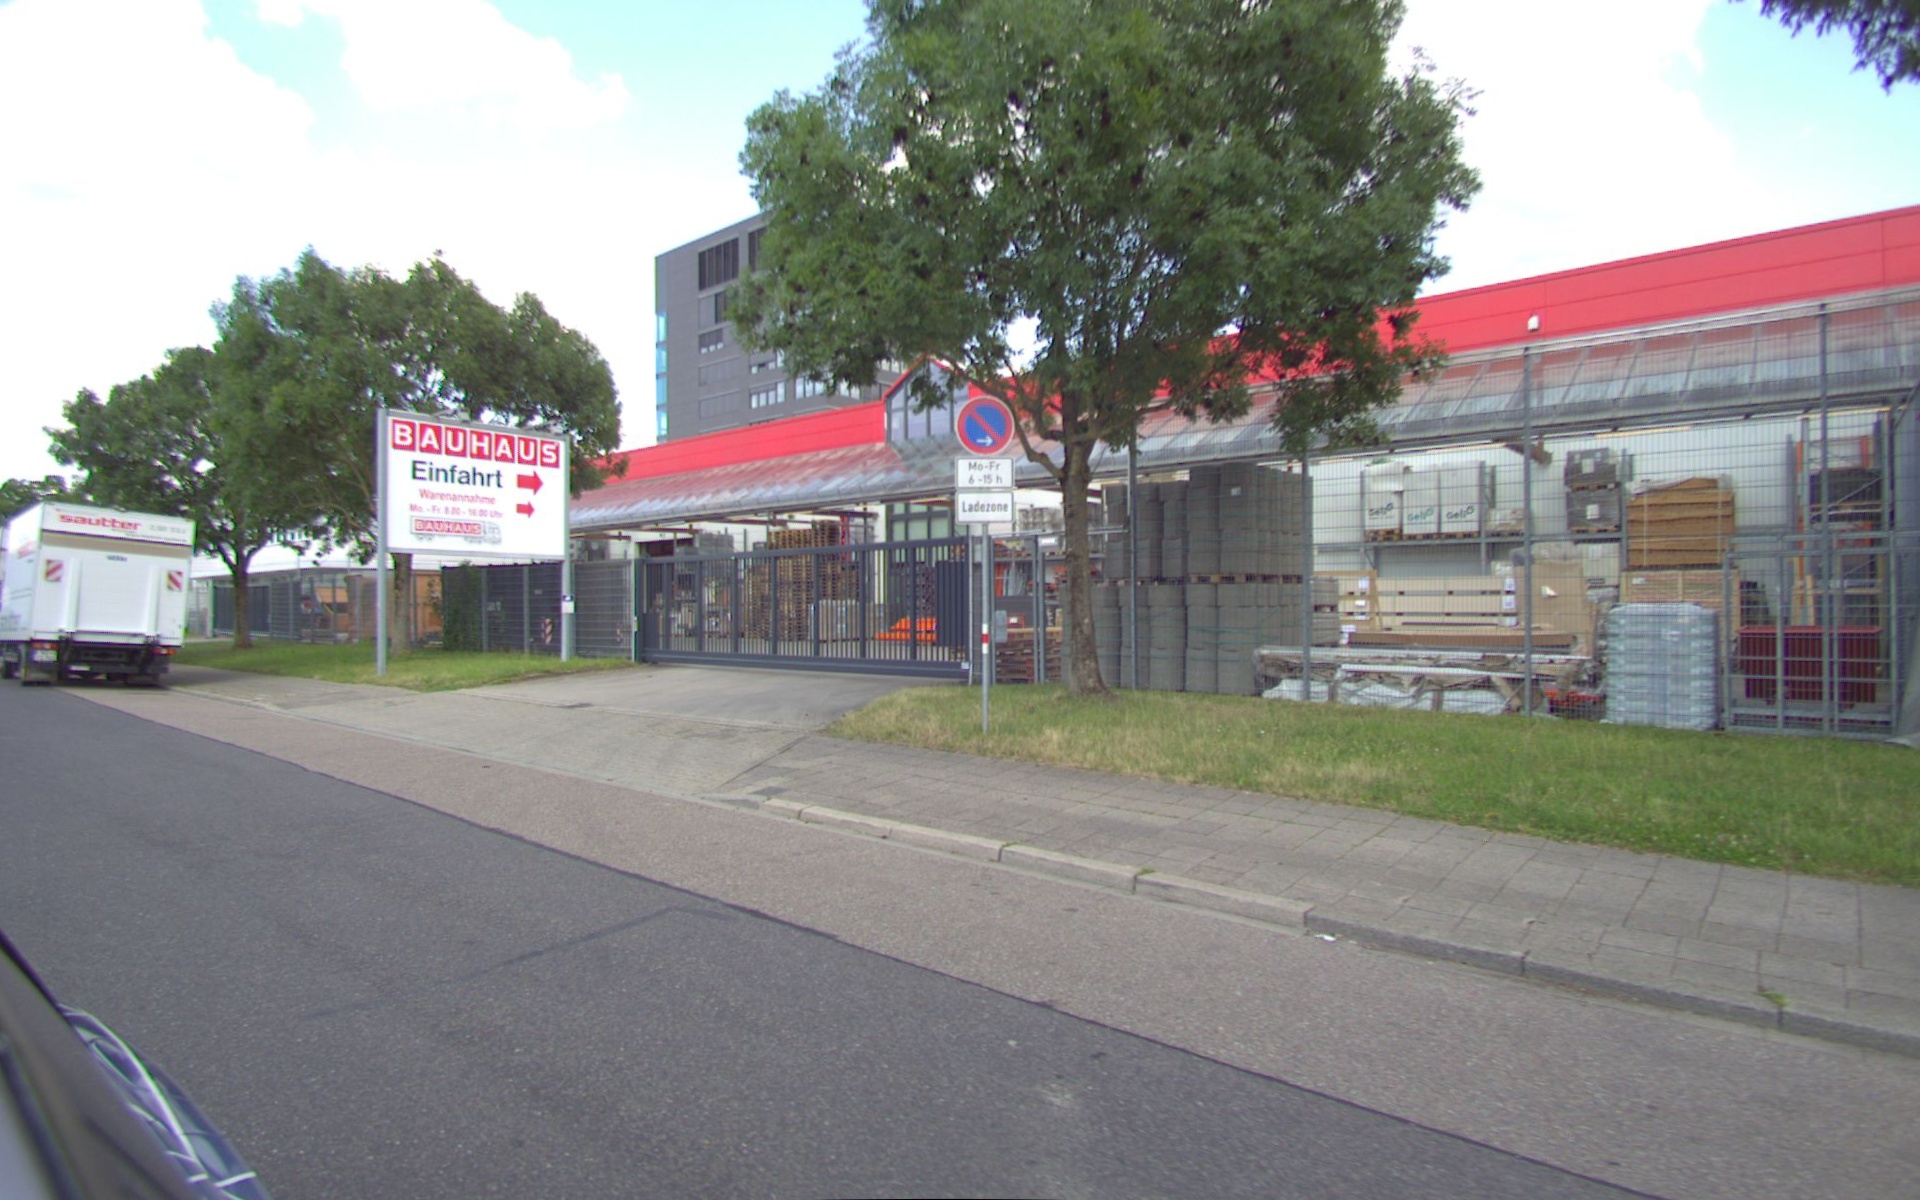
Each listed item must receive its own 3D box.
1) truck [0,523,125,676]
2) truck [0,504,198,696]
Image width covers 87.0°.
[{"bbox_3d":[-26.150,0.059,28.619,7.168,3.838,2.719,-1,-2,41],"label":"truck"},{"bbox_3d":[-20.054,0.031,23.140,7.168,3.751,2.719,0,-1,41],"label":"truck"}]
